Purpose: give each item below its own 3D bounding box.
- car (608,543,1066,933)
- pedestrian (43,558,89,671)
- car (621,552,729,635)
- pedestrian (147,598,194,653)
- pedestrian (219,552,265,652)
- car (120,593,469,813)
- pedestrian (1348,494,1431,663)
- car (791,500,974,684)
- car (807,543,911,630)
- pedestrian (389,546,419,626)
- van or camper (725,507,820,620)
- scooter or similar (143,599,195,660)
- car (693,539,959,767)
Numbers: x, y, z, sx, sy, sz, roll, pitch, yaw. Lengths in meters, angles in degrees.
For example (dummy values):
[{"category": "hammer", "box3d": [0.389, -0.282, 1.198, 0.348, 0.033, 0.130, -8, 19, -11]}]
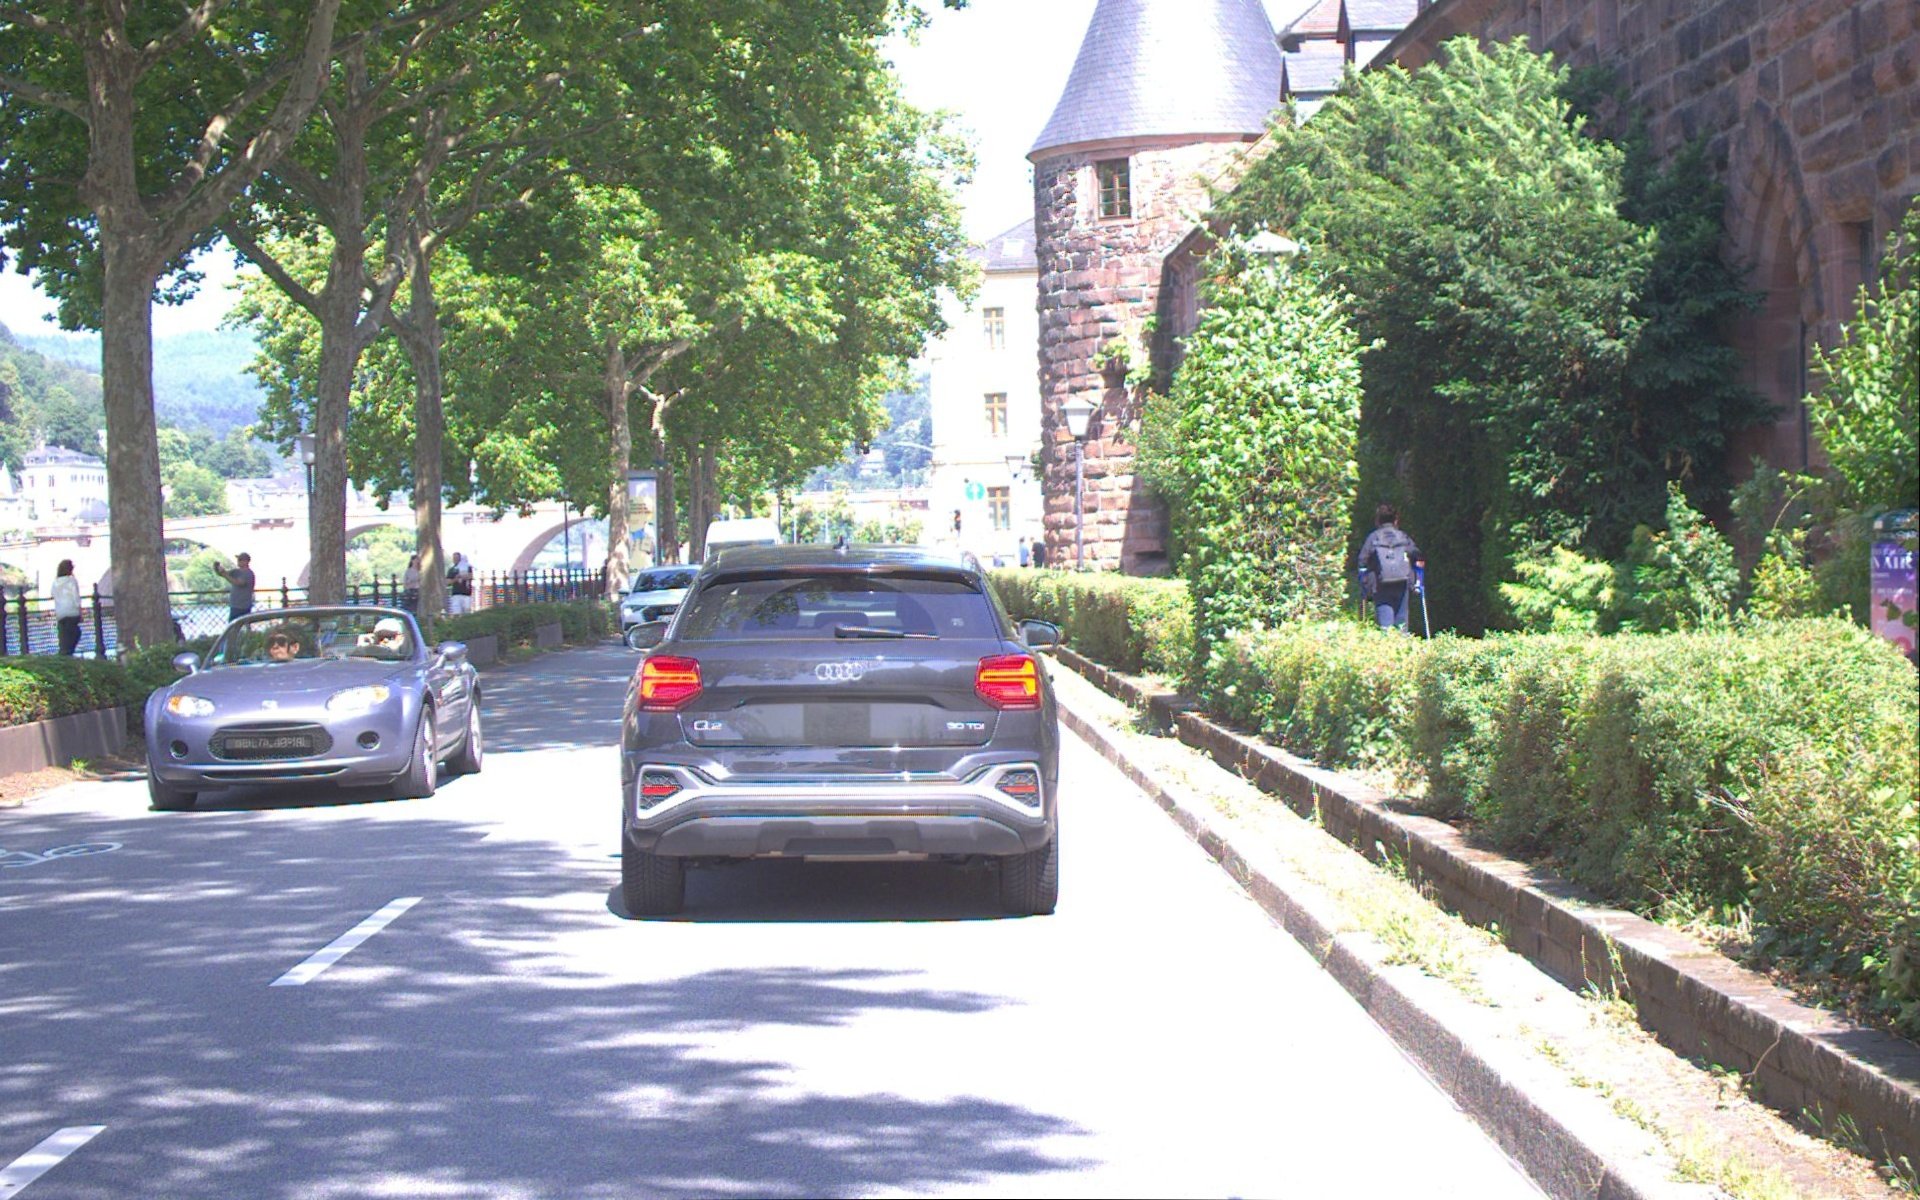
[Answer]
[{"category": "car", "box3d": [-0.540, 0.508, 15.043, 1.748, 1.489, 3.629, 0, 1, -2]}, {"category": "pedestrian", "box3d": [-13.666, 0.220, 52.570, 0.584, 1.705, 0.403, 1, 0, -3]}, {"category": "car", "box3d": [-5.332, -0.145, 64.808, 1.769, 1.452, 4.534, -2, 1, -2]}, {"category": "pedestrian", "box3d": [-12.989, 0.410, 56.595, 0.607, 0.881, 0.705, -1, 1, -1]}, {"category": "pedestrian", "box3d": [-11.693, 0.031, 55.971, 0.644, 1.613, 0.459, 1, 0, -3]}, {"category": "car", "box3d": [-4.189, 0.604, 22.097, 1.698, 1.207, 3.486, -2, 1, -3]}, {"category": "pedestrian", "box3d": [4.306, -0.222, 34.503, 0.698, 1.647, 0.705, -2, 1, 2]}, {"category": "car", "box3d": [-0.916, -0.122, 41.001, 1.993, 2.007, 4.000, -2, 1, -1]}, {"category": "car", "box3d": [-1.839, -0.258, 62.111, 1.769, 1.452, 4.534, -2, 1, -2]}, {"category": "pedestrian", "box3d": [-10.982, -0.276, 67.919, 0.457, 1.549, 0.586, -2, 1, -1]}, {"category": "van or camper", "box3d": [-4.552, -0.890, 84.117, 1.960, 2.558, 5.841, -3, 1, -1]}, {"category": "scooter or similar", "box3d": [-12.986, 0.478, 56.451, 0.631, 0.965, 1.012, -1, 0, -1]}, {"category": "car", "box3d": [-0.960, 0.348, 26.491, 1.801, 1.557, 3.716, -2, 1, 1]}]
